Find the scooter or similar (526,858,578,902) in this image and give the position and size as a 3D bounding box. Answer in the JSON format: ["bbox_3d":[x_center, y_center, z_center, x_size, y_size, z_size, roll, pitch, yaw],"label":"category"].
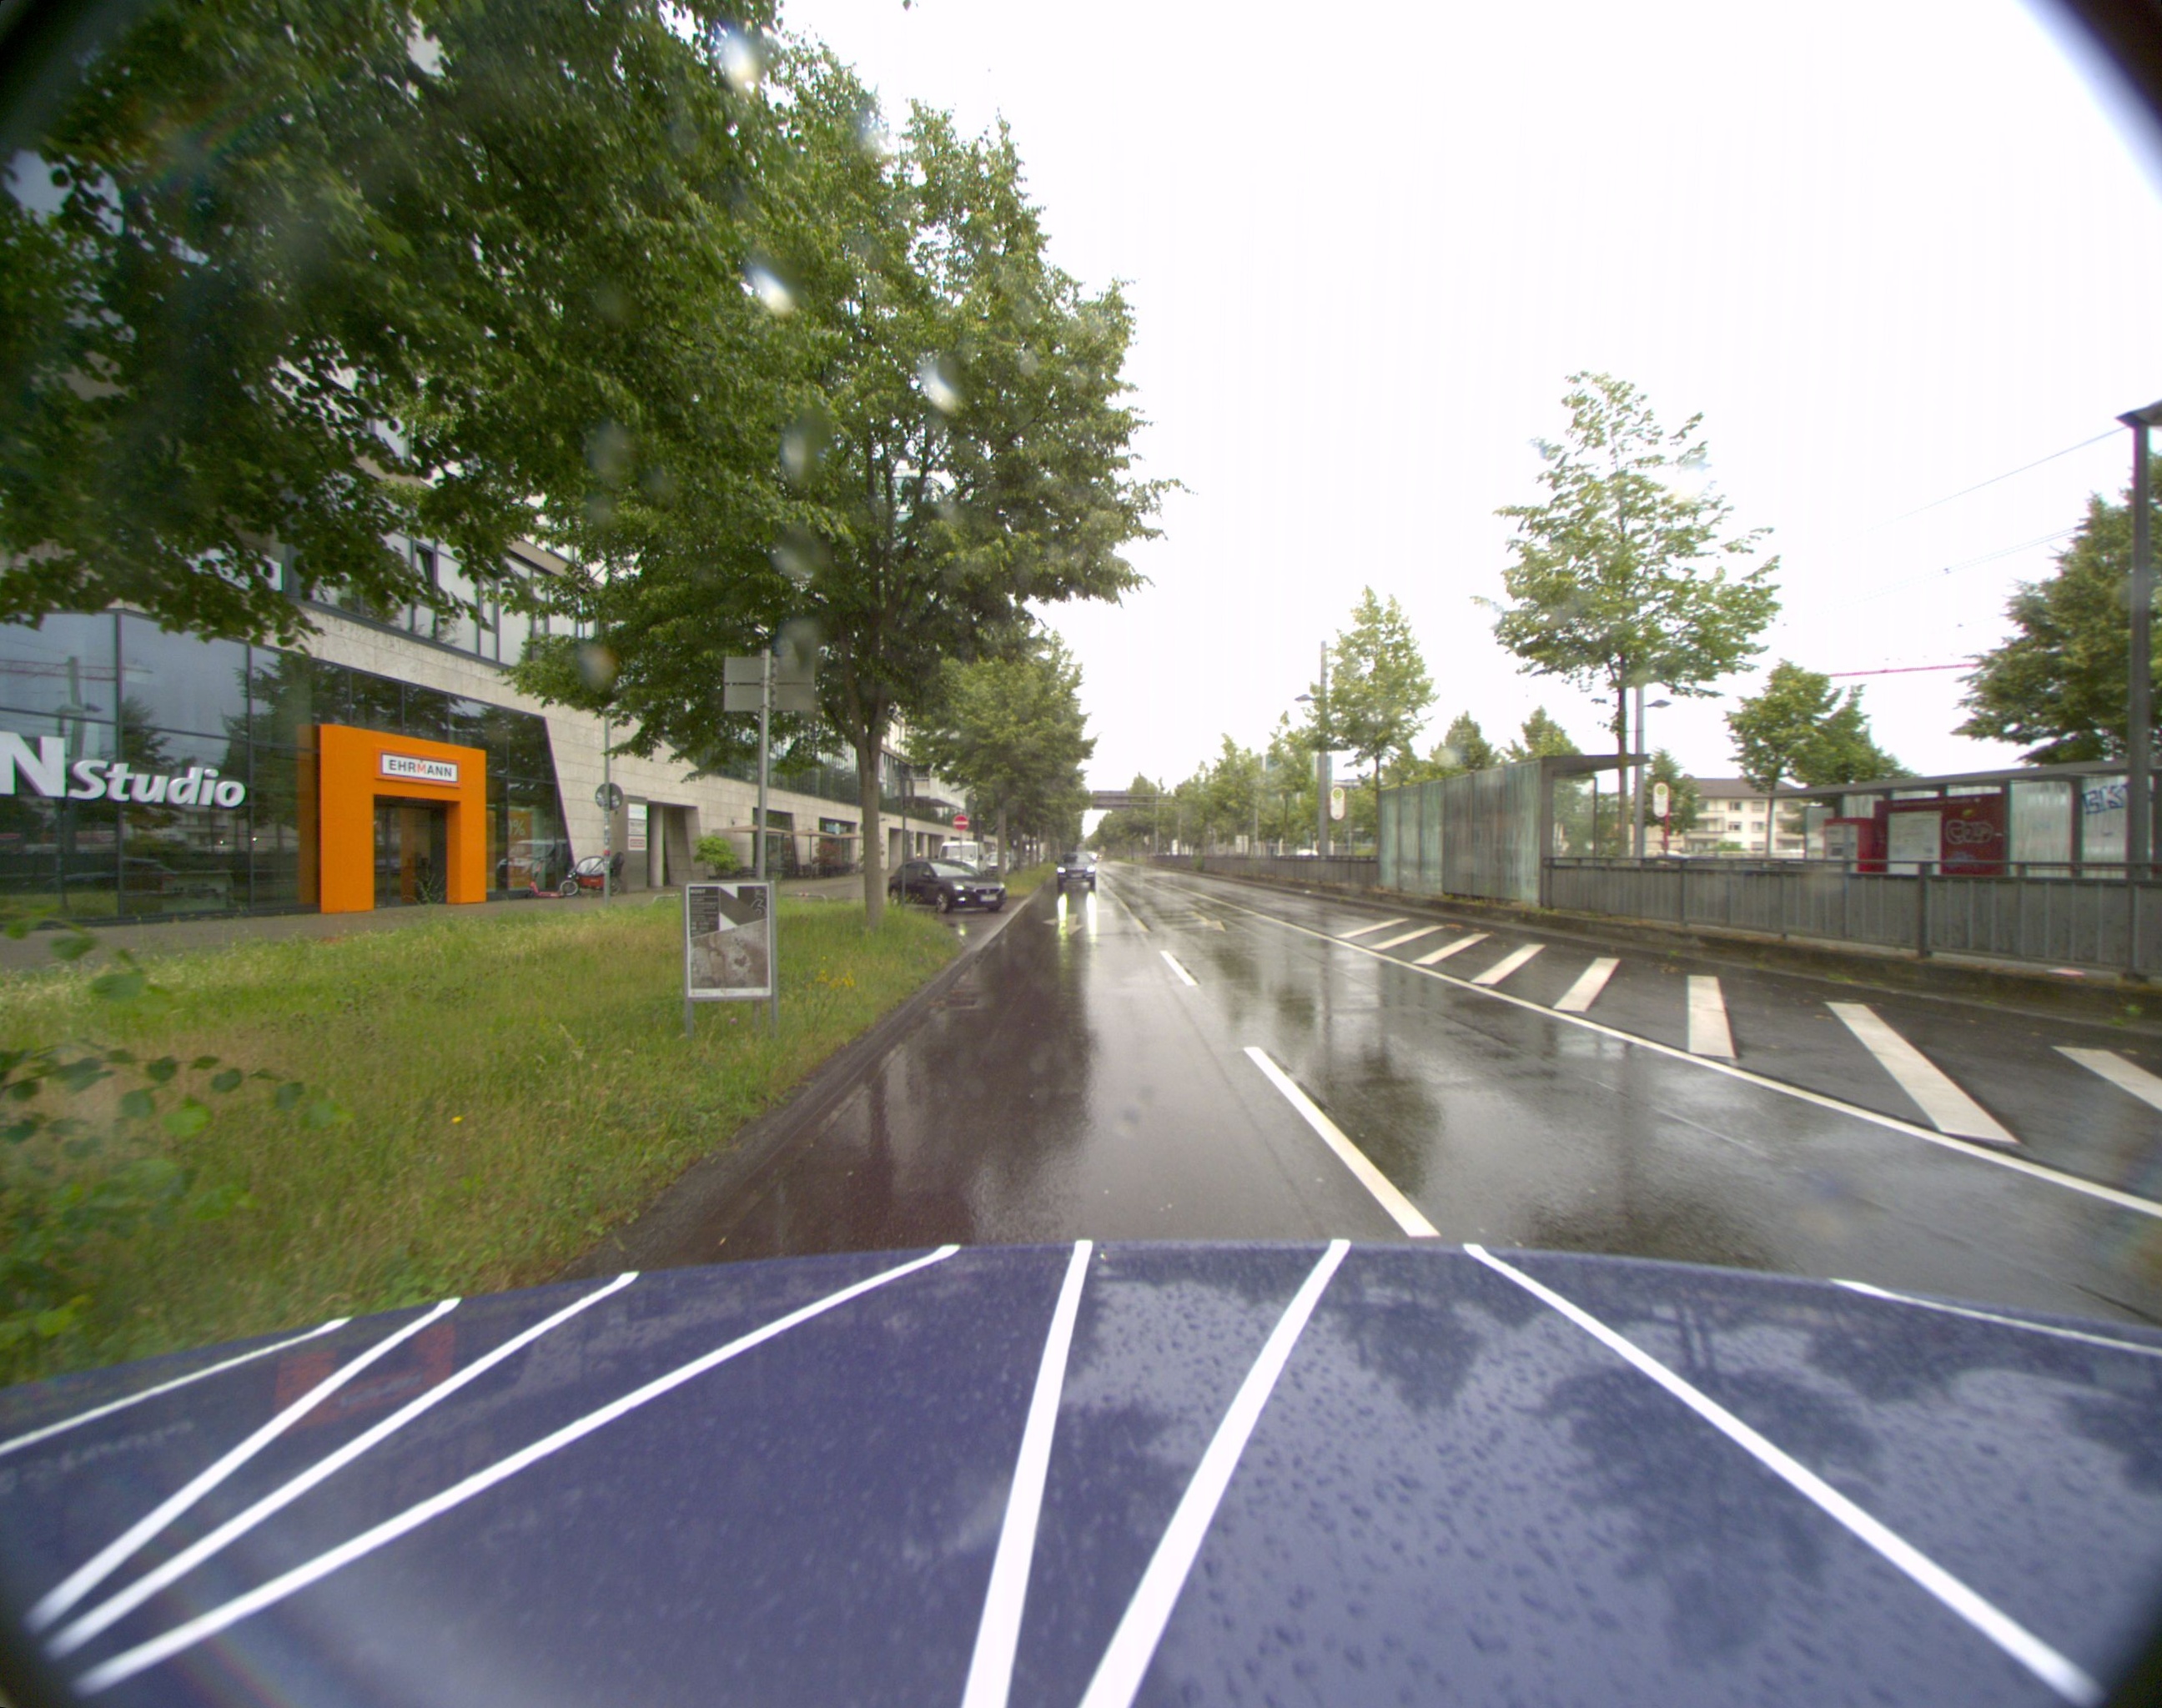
[{"bbox_3d":[-15.544,0.759,22.352,0.342,1.221,1.242,-2,1,20],"label":"scooter or similar"}]

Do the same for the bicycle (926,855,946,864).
[{"bbox_3d":[-15.527,0.594,81.425,2.029,0.940,0.395,1,1,-4],"label":"bicycle"}]

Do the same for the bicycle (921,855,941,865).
[{"bbox_3d":[-15.579,0.613,78.994,2.029,0.940,0.395,1,1,-4],"label":"bicycle"}]

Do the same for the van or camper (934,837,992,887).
[{"bbox_3d":[-5.843,0.341,38.292,2.030,2.279,5.459,-1,1,0],"label":"van or camper"}]

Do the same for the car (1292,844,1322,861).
[{"bbox_3d":[25.606,-0.203,86.187,1.999,1.736,3.998,-2,1,-2],"label":"car"}]

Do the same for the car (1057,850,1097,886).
[{"bbox_3d":[-0.145,0.647,37.931,1.816,1.603,3.999,-2,1,1],"label":"car"}]

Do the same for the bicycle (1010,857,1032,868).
[{"bbox_3d":[-5.680,0.819,72.466,2.040,0.940,0.395,-2,1,-4],"label":"bicycle"}]

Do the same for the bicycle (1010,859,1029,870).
[{"bbox_3d":[-5.465,0.916,67.613,1.699,0.940,0.395,-2,1,-4],"label":"bicycle"}]

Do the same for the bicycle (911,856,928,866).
[{"bbox_3d":[-15.878,0.648,74.716,1.657,0.940,0.347,1,1,19],"label":"bicycle"}]

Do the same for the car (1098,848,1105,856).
[{"bbox_3d":[5.844,-0.614,220.129,1.998,2.232,3.999,-2,1,1],"label":"car"}]

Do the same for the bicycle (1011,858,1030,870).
[{"bbox_3d":[-5.478,0.888,68.429,1.649,0.940,0.395,-2,1,-4],"label":"bicycle"}]

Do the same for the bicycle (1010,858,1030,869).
[{"bbox_3d":[-5.556,0.867,68.953,1.793,0.940,0.395,-2,1,-4],"label":"bicycle"}]

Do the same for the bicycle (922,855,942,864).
[{"bbox_3d":[-15.590,0.610,79.589,2.029,0.940,0.395,1,1,-4],"label":"bicycle"}]

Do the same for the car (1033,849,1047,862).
[{"bbox_3d":[-5.700,0.170,106.196,1.659,1.711,3.999,-2,1,0],"label":"car"}]

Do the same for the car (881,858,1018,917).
[{"bbox_3d":[-3.780,0.855,21.330,1.836,1.412,4.333,-2,1,-40],"label":"car"}]

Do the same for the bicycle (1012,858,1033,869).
[{"bbox_3d":[-5.418,0.841,70.206,1.882,0.940,0.395,-2,1,-4],"label":"bicycle"}]

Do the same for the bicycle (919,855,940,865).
[{"bbox_3d":[-15.588,0.617,78.291,2.029,0.940,0.395,1,1,-4],"label":"bicycle"}]

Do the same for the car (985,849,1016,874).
[{"bbox_3d":[-5.976,0.516,56.816,1.746,1.749,4.847,-1,1,0],"label":"car"}]

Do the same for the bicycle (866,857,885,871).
[{"bbox_3d":[-15.178,0.744,56.031,0.396,0.940,2.024,-4,2,-45],"label":"bicycle"}]

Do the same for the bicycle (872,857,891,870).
[{"bbox_3d":[-14.897,0.725,56.617,0.396,0.940,2.024,-4,2,-45],"label":"bicycle"}]

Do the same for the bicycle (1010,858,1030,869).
[{"bbox_3d":[-5.591,0.858,69.632,1.862,0.940,0.395,-2,1,-4],"label":"bicycle"}]

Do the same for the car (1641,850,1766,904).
[{"bbox_3d":[24.703,0.845,30.366,1.761,2.002,4.000,0,0,1],"label":"car"}]

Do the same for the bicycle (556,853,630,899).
[{"bbox_3d":[-15.432,0.668,24.108,0.734,1.394,2.425,1,0,1],"label":"bicycle"}]

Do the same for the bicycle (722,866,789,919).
[{"bbox_3d":[-8.577,1.007,19.996,1.843,1.338,0.533,-1,-1,26],"label":"bicycle"}]
